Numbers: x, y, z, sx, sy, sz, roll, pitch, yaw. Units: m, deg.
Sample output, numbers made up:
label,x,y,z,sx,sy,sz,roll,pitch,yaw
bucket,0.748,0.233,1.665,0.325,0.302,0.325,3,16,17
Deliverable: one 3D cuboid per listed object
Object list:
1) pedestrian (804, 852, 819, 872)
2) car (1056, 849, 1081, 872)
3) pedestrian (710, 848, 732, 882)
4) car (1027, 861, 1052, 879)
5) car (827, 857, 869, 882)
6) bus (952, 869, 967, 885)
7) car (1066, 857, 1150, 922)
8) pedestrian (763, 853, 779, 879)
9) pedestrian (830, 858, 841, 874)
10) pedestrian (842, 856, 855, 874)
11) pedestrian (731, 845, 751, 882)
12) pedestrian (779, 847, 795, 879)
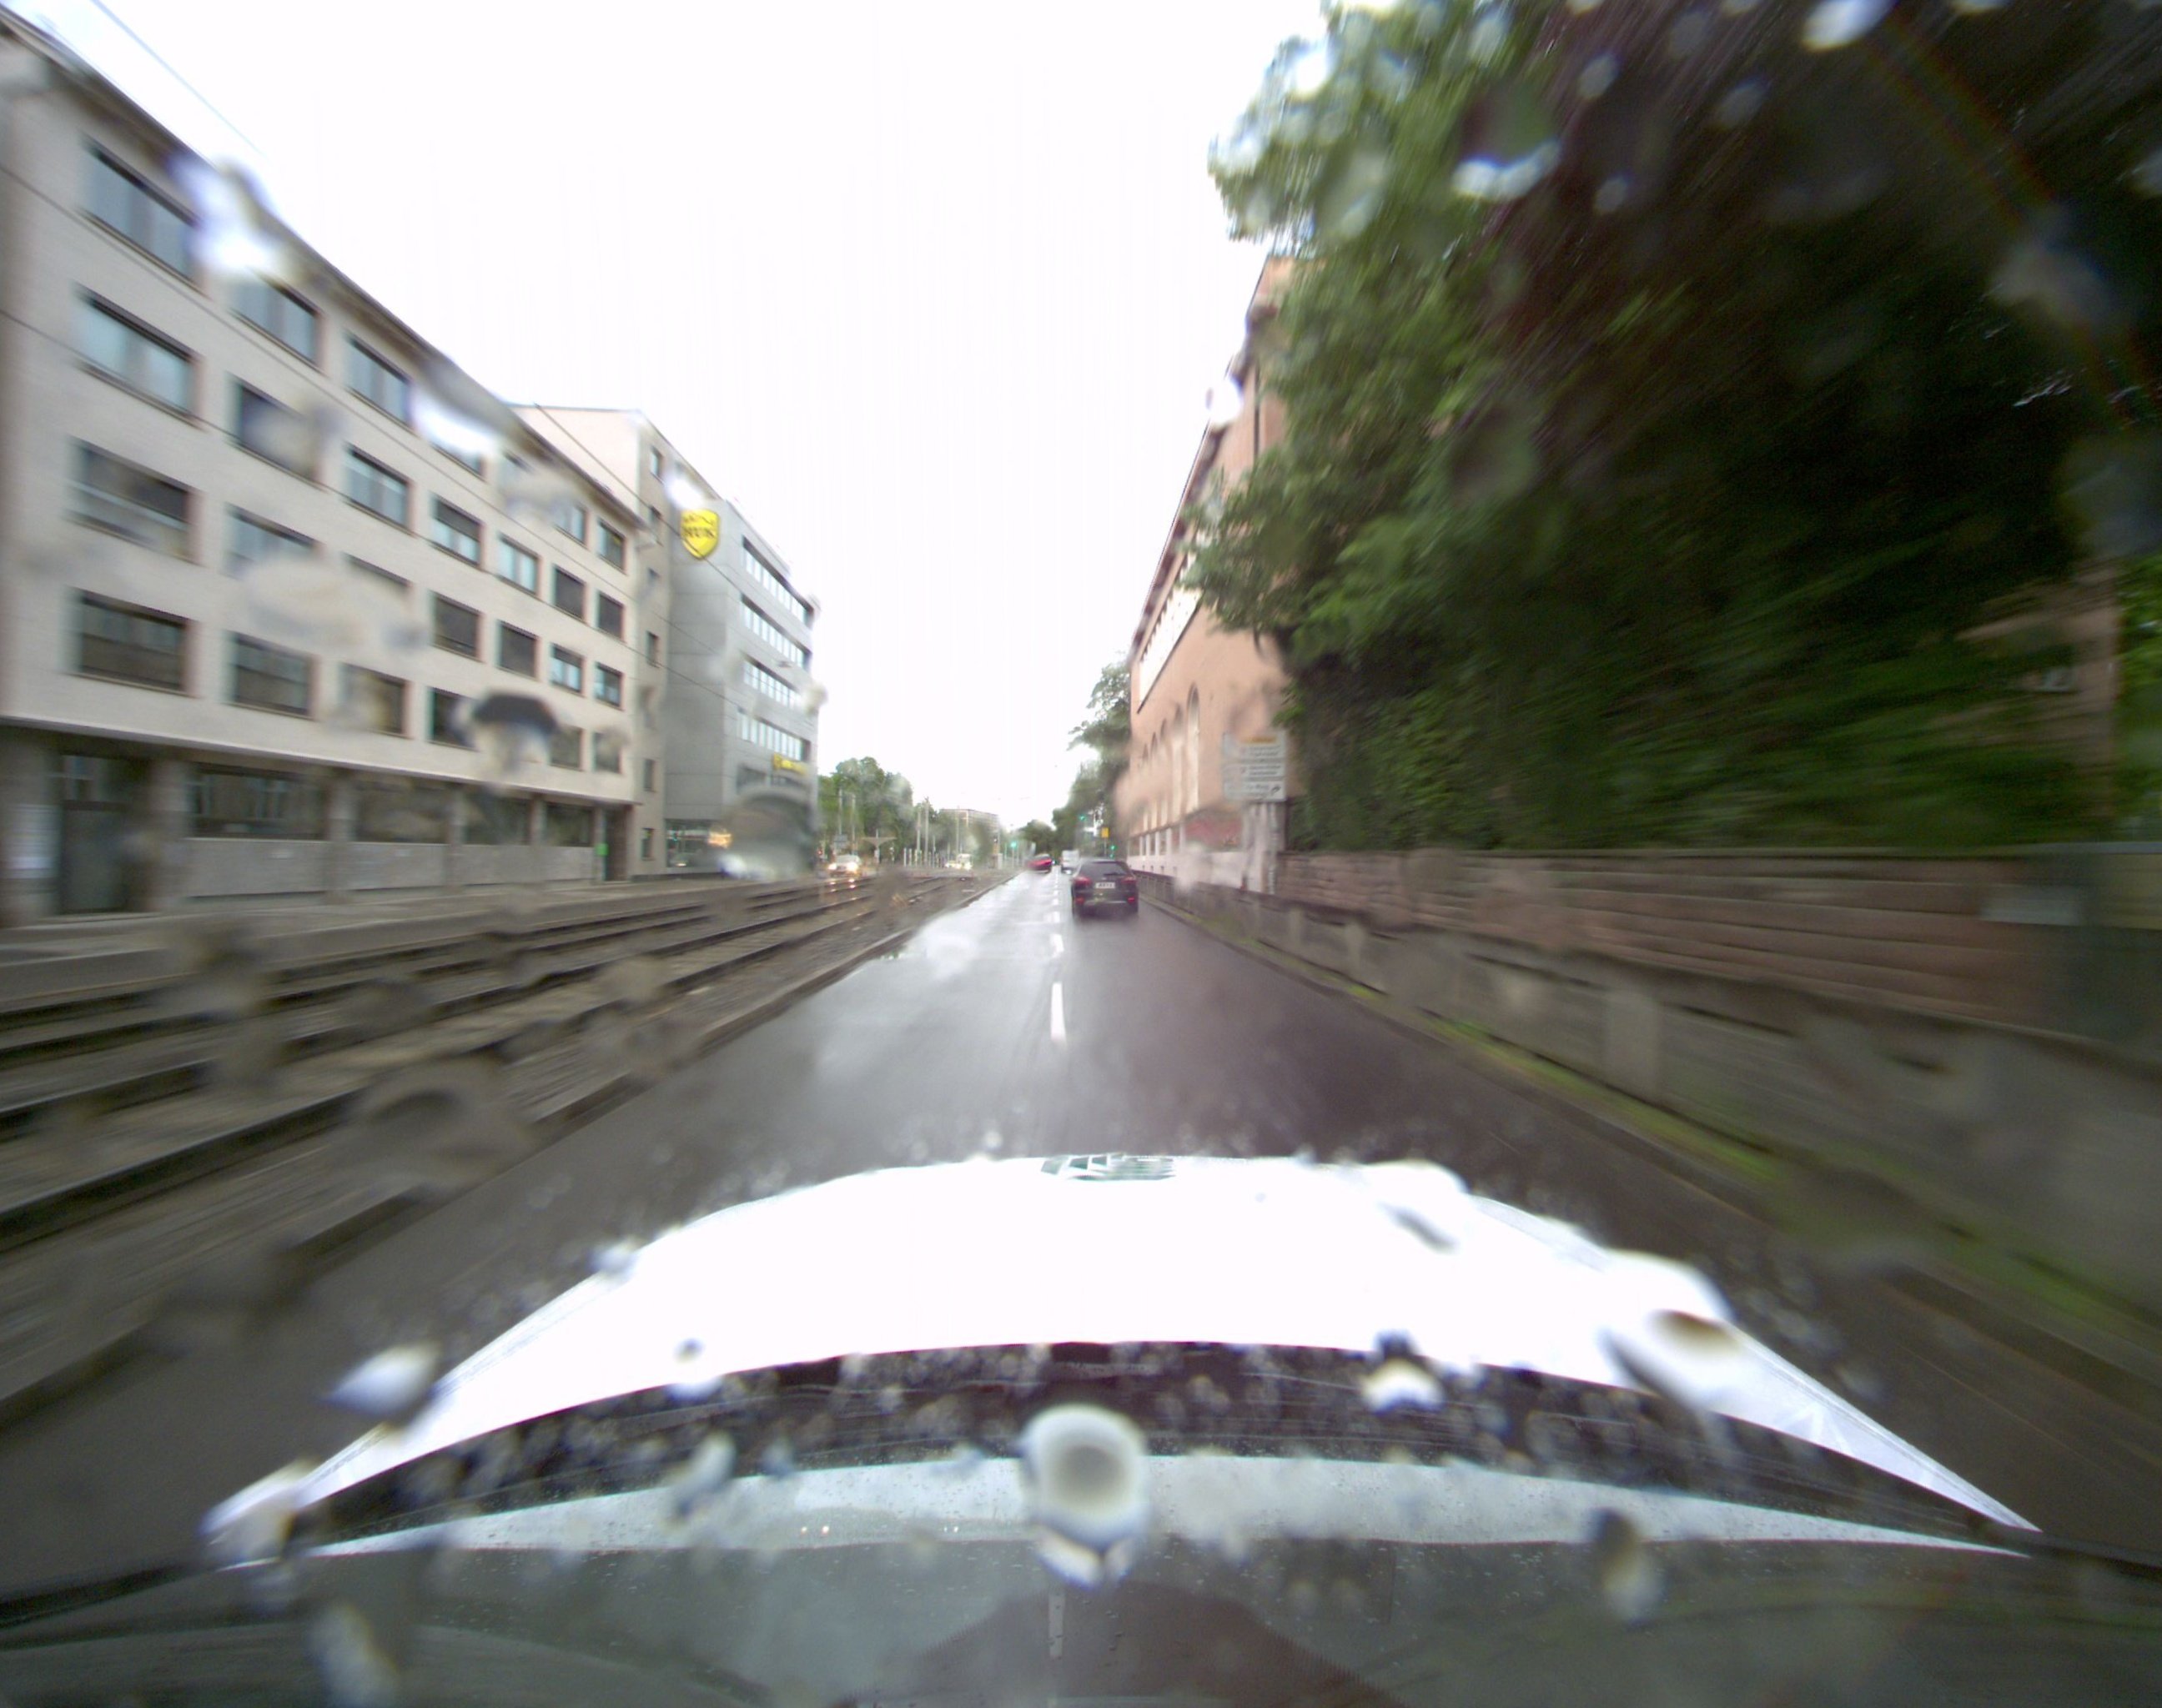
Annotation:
label,x,y,z,sx,sy,sz,roll,pitch,yaw
pedestrian,-22.159,0.663,66.963,0.970,1.594,0.583,3,-2,-34
car,-1.016,0.585,69.025,2.029,1.840,4.391,1,-1,0
pedestrian,-19.517,0.604,44.161,0.659,1.815,0.973,2,-1,-2
car,-3.740,1.465,73.936,2.092,1.506,4.729,-1,-1,-1
car,-15.810,1.022,55.438,1.937,1.536,4.340,-3,-1,-5
bus,-27.115,5.050,181.595,3.075,3.301,12.485,-1,-1,-8
car,0.621,0.909,22.299,2.030,1.584,4.388,1,-1,-2
pedestrian,-19.339,0.780,50.870,0.583,1.594,0.638,2,-1,15
pedestrian,-24.837,1.217,82.469,1.003,1.594,0.907,3,-1,-19
pedestrian,-24.624,1.133,86.338,0.997,1.863,0.913,2,-1,-1
pedestrian,-18.527,0.514,44.326,0.659,2.014,0.810,2,-1,-2
pedestrian,-18.449,0.555,51.113,0.666,2.014,0.610,3,-2,-40
